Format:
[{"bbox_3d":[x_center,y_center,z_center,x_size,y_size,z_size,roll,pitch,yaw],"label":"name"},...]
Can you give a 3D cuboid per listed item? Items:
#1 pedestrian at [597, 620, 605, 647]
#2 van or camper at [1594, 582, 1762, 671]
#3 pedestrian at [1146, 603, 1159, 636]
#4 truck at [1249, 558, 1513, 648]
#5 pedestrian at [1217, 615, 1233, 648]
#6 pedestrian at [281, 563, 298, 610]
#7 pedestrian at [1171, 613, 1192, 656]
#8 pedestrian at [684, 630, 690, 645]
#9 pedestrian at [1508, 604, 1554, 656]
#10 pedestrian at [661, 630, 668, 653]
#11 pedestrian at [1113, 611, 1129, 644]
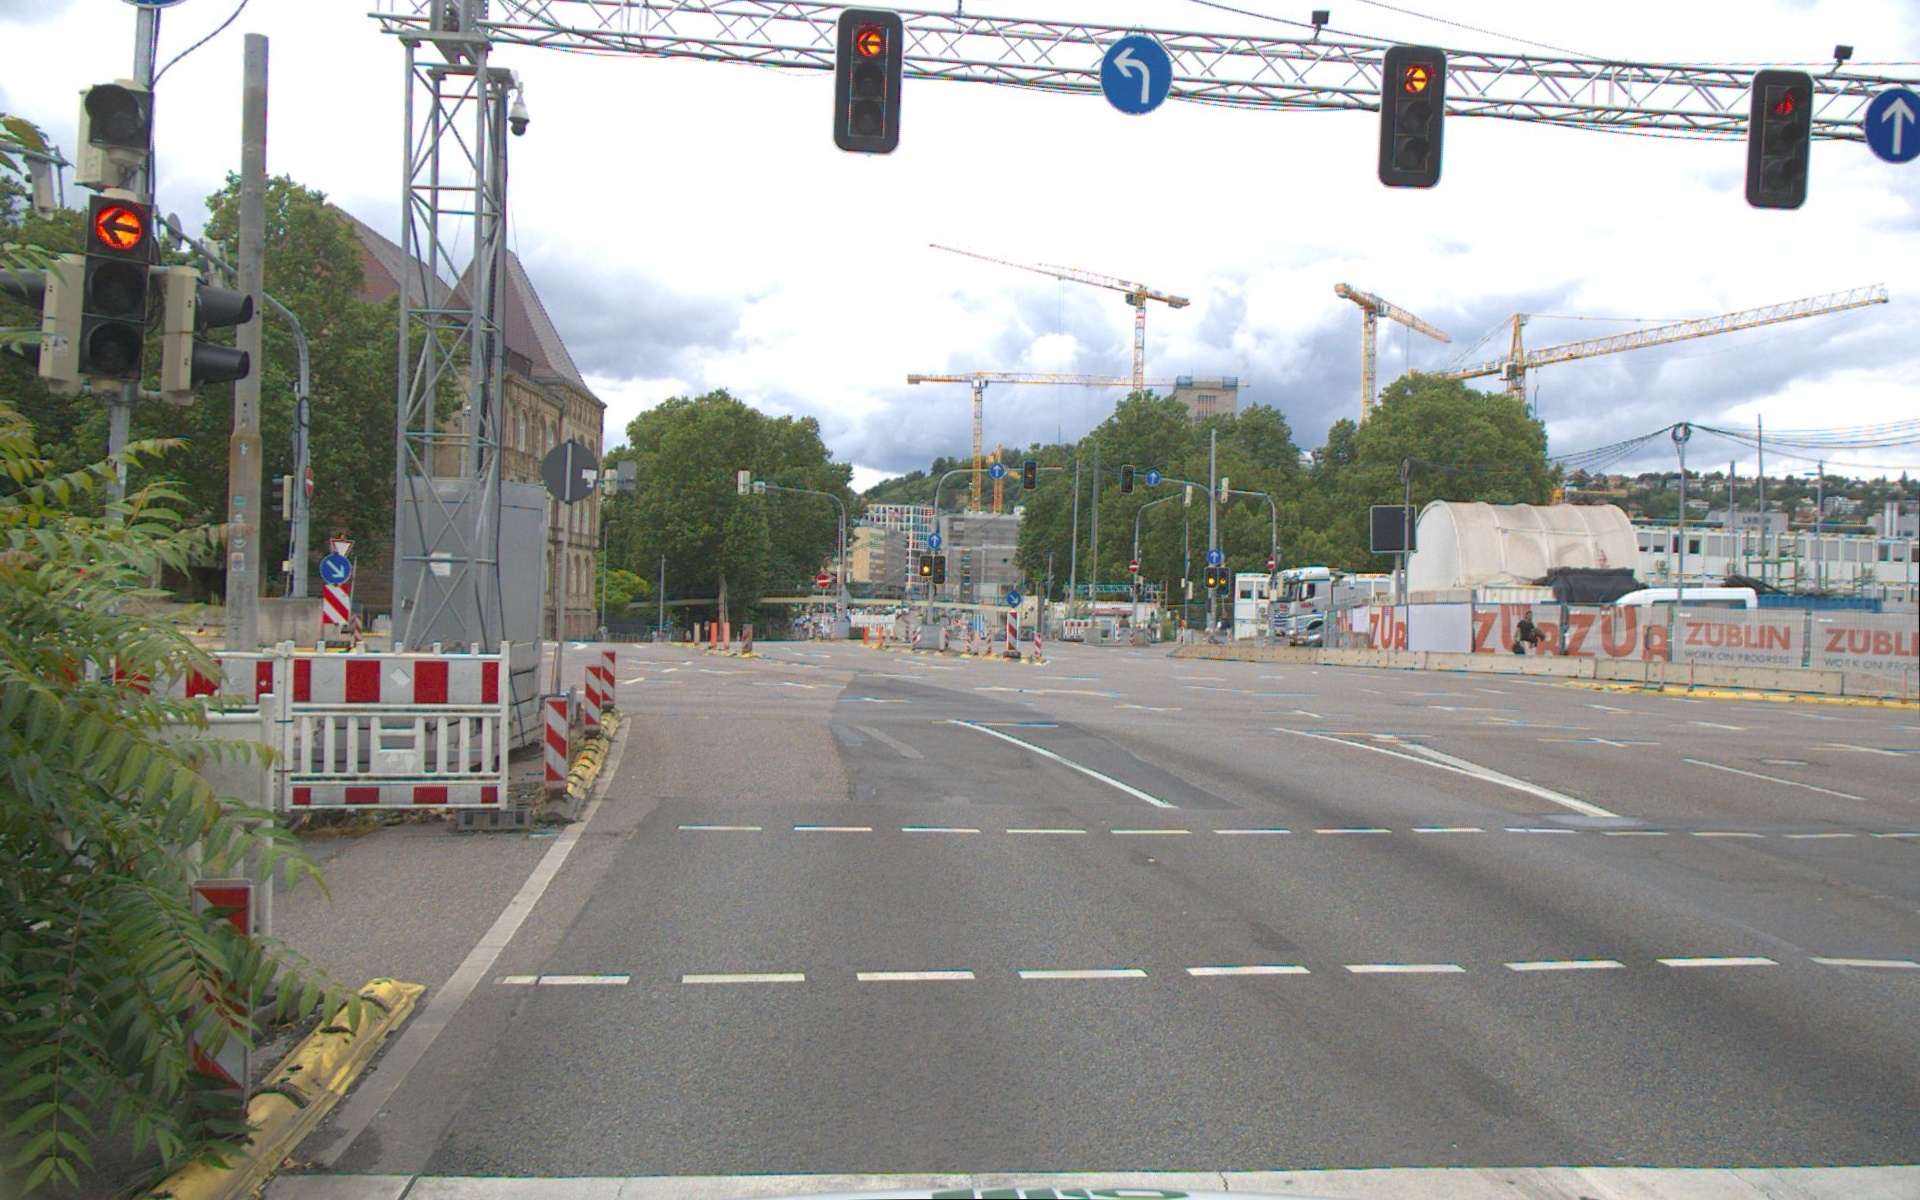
[{"bbox_3d":[-27.144,2.533,125.060,0.513,2.049,0.566,1,0,-1],"label":"pedestrian"},{"bbox_3d":[20.724,0.749,47.904,4.123,2.398,2.001,1,0,14],"label":"van or camper"},{"bbox_3d":[10.114,1.028,86.877,0.555,1.718,0.471,2,0,-1],"label":"pedestrian"},{"bbox_3d":[20.989,0.178,82.313,12.837,4.111,3.927,1,0,-21],"label":"truck"},{"bbox_3d":[13.868,1.637,86.572,0.609,1.718,0.710,2,0,28],"label":"pedestrian"},{"bbox_3d":[-29.517,-0.603,72.841,0.523,2.049,0.421,2,0,-44],"label":"pedestrian"},{"bbox_3d":[9.058,1.415,67.671,0.714,1.718,0.677,2,0,-1],"label":"pedestrian"},{"bbox_3d":[-29.568,4.080,179.032,0.525,1.620,0.515,1,0,-5],"label":"pedestrian"},{"bbox_3d":[15.899,0.825,46.048,0.786,1.402,0.898,2,0,-25],"label":"pedestrian"},{"bbox_3d":[-27.530,3.858,154.243,0.513,2.049,0.566,1,0,-1],"label":"pedestrian"},{"bbox_3d":[8.416,1.434,86.341,0.714,1.718,0.677,2,0,-1],"label":"pedestrian"}]
